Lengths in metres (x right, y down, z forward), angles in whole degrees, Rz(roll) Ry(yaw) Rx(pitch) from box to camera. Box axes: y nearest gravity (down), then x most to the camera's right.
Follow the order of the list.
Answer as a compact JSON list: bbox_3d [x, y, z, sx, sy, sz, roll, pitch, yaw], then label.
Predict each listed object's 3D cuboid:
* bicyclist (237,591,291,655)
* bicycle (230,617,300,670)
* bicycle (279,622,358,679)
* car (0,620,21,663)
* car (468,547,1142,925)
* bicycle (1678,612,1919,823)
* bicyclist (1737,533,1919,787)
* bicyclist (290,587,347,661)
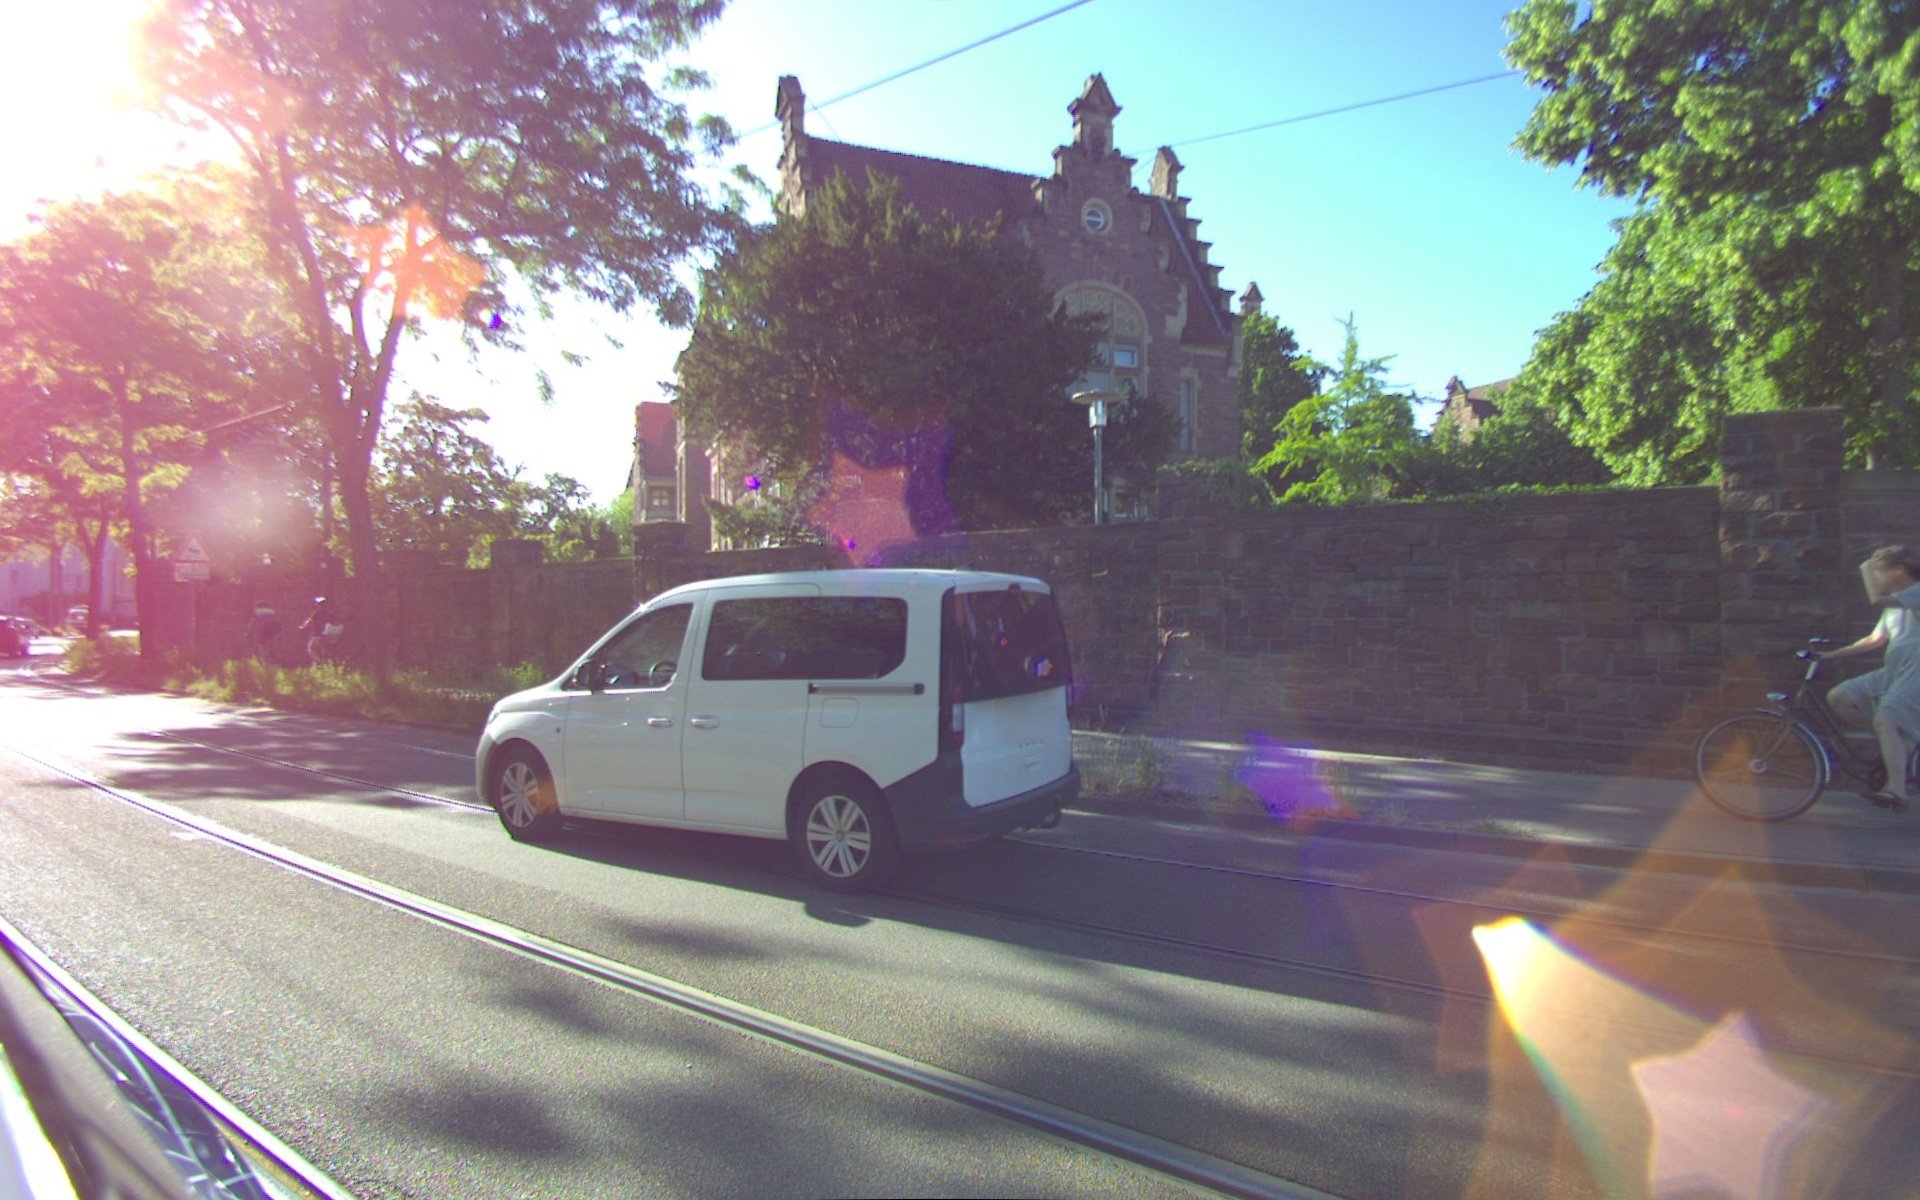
[{"bbox_3d":[-16.365,0.538,23.798,1.148,1.470,0.648,-1,-1,32],"label":"bicyclist"},{"bbox_3d":[-16.336,1.009,23.779,1.850,1.097,0.679,3,1,33],"label":"bicycle"},{"bbox_3d":[-13.070,1.008,20.601,2.060,1.097,0.678,-1,-1,37],"label":"bicycle"},{"bbox_3d":[-38.128,1.598,39.494,4.358,1.619,1.798,-1,-1,42],"label":"car"},{"bbox_3d":[-1.120,0.676,6.704,4.238,1.801,1.814,-1,-1,30],"label":"car"},{"bbox_3d":[5.707,0.691,6.266,1.944,1.207,0.810,-1,0,29],"label":"bicycle"},{"bbox_3d":[5.688,0.347,6.275,1.182,1.482,0.753,-1,0,21],"label":"bicyclist"},{"bbox_3d":[-13.057,0.489,20.594,1.150,1.470,0.646,-1,-1,39],"label":"bicyclist"}]
